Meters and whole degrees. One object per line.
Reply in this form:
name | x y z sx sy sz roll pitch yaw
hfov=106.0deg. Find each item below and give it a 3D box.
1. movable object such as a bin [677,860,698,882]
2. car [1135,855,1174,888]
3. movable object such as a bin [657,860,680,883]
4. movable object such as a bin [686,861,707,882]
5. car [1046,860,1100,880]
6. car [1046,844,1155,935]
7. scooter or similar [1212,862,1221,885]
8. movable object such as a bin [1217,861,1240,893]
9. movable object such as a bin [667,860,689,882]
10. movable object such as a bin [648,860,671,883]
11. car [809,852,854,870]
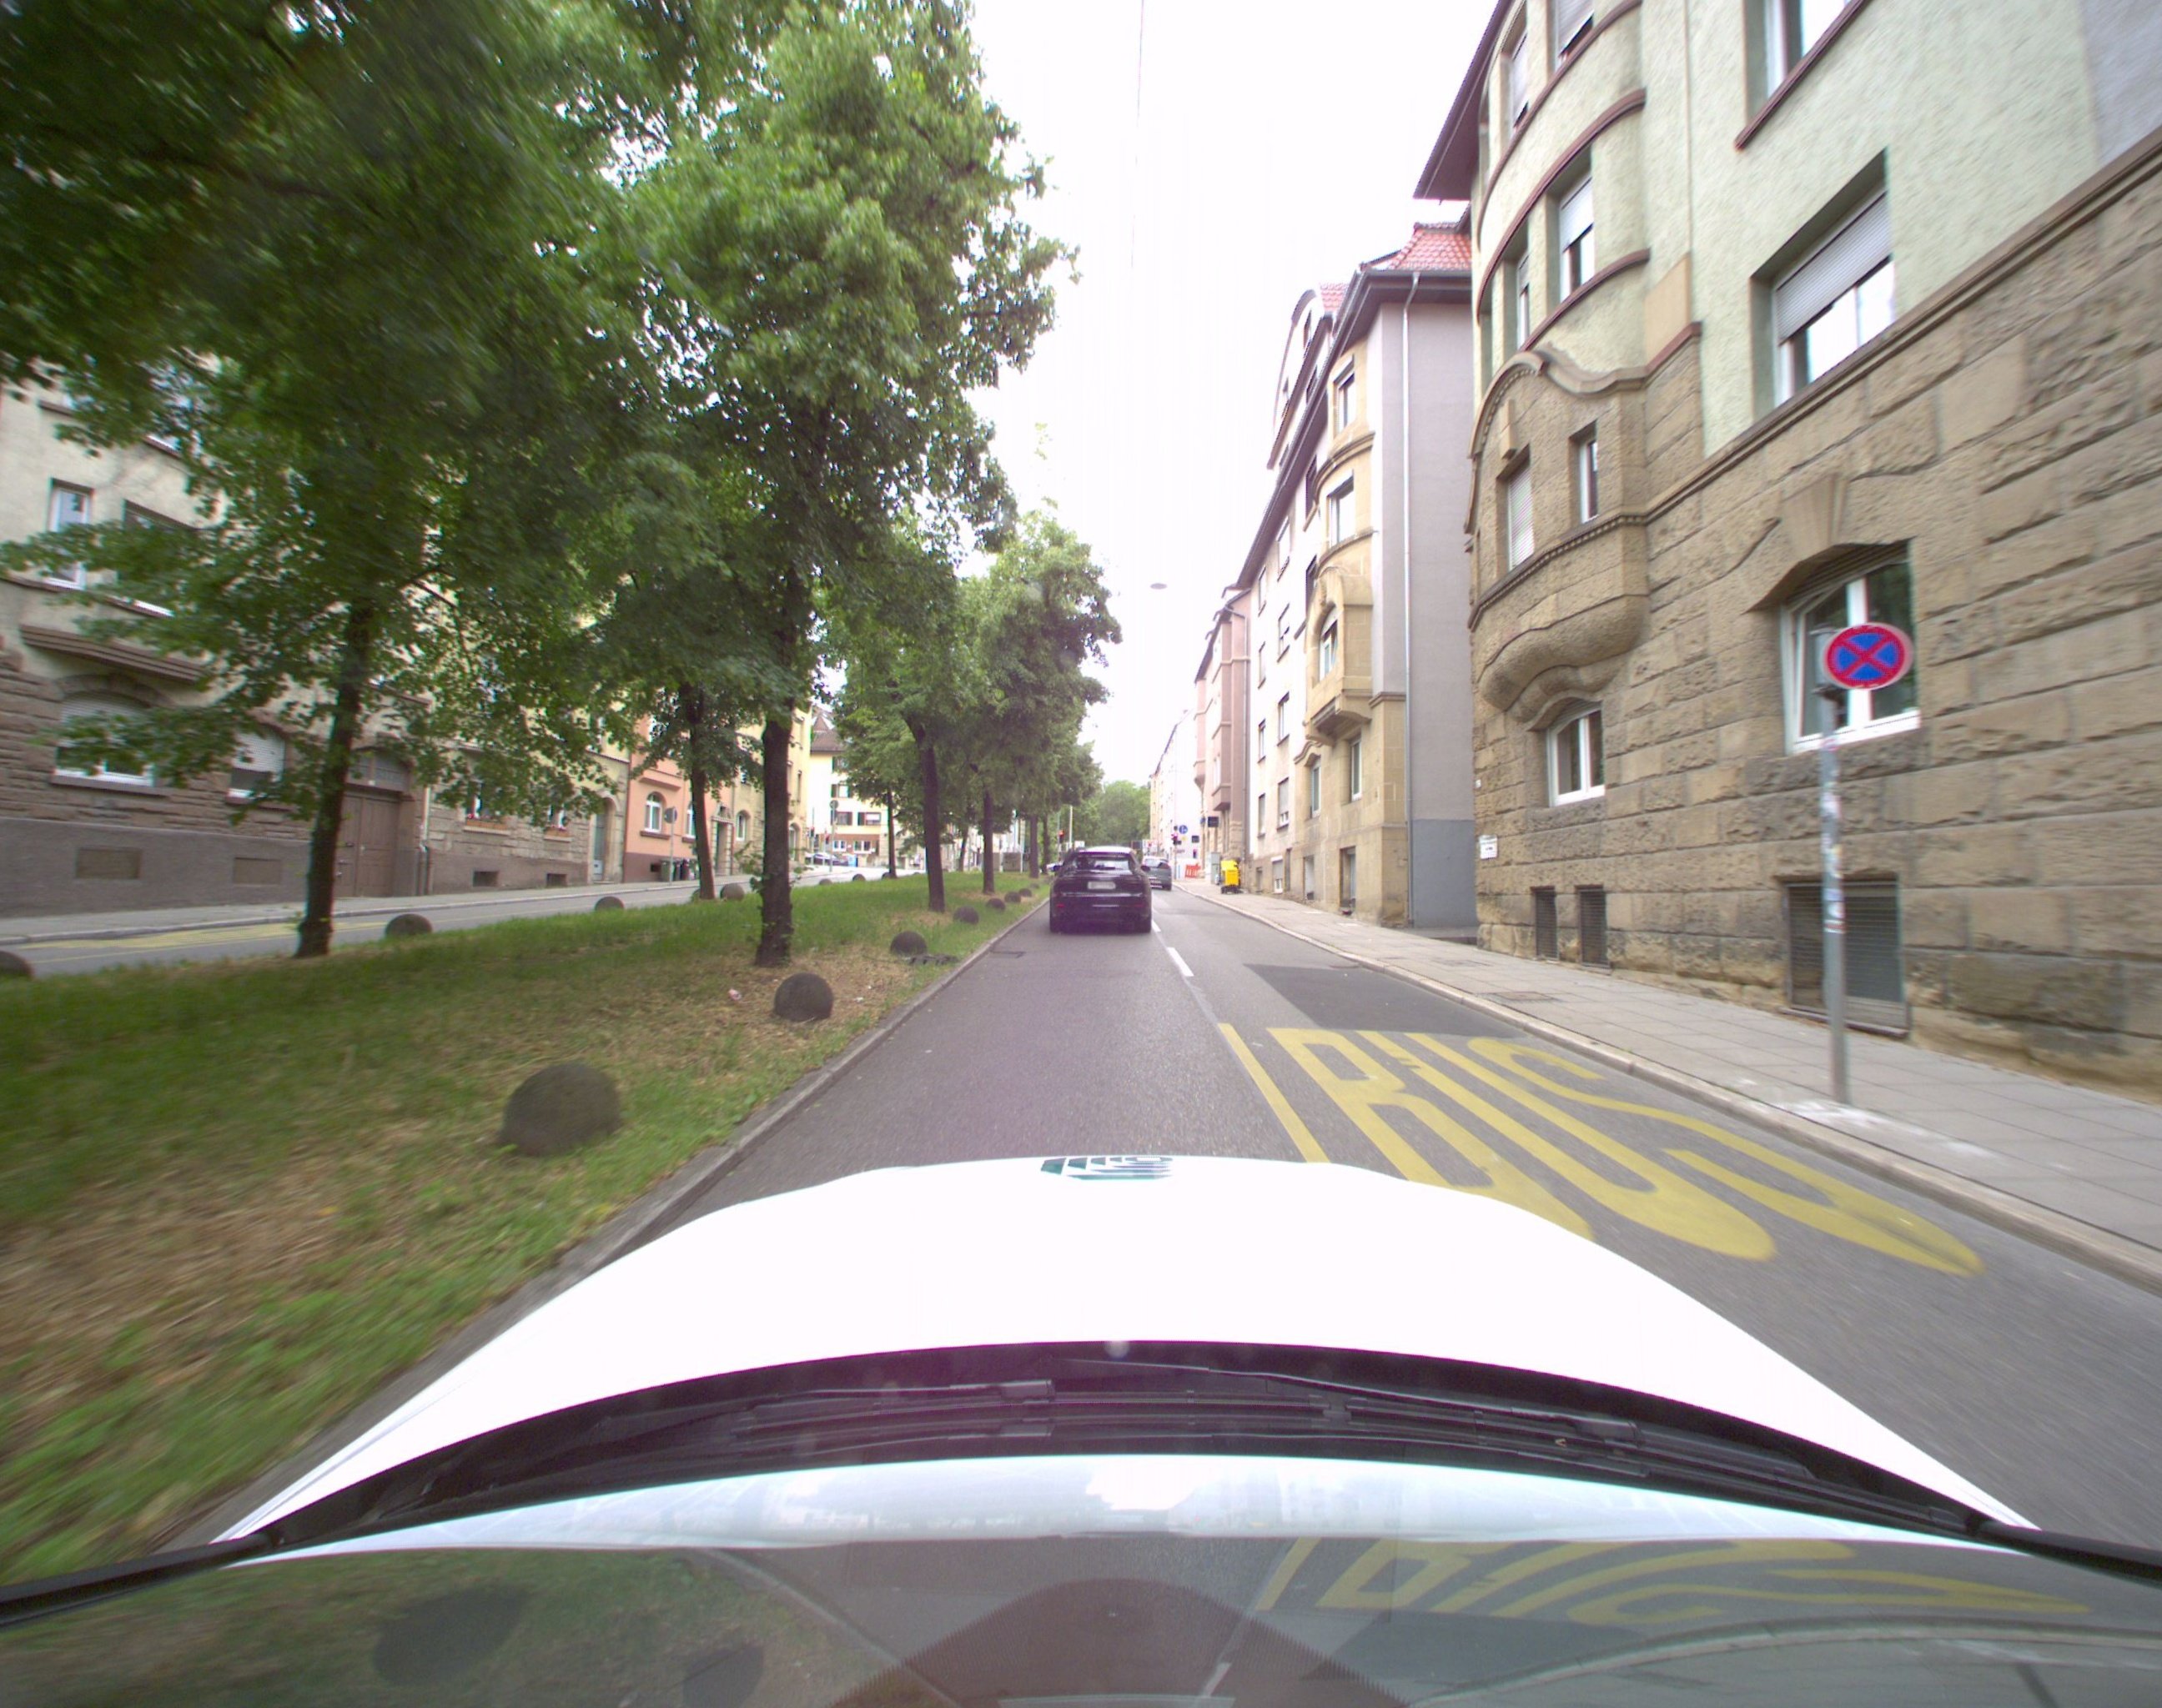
movable object such as a bin | -16.888 0.735 34.970 0.607 0.904 0.601 2 -1 -3
car | 3.665 0.850 40.855 1.745 1.593 3.632 0 -1 2
movable object such as a bin | -16.922 0.715 33.438 0.607 0.904 0.601 2 -1 -3
movable object such as a bin | -16.829 0.747 35.678 0.607 0.904 0.601 2 -1 -3
car | -0.641 1.323 67.720 4.180 1.510 1.804 1 0 9
car | 0.444 0.650 16.960 1.986 1.653 4.002 0 0 2
scooter or similar | 7.257 1.053 43.665 0.399 1.188 1.356 -1 1 6
movable object such as a bin | 6.536 1.017 36.164 0.717 1.421 1.693 0 -2 0
movable object such as a bin | -16.892 0.723 34.121 0.607 0.904 0.601 2 -1 -3
movable object such as a bin | -16.971 0.707 32.801 0.607 0.904 0.601 2 -1 -3
car | -23.396 0.668 76.364 3.948 1.665 1.894 -1 -3 35
